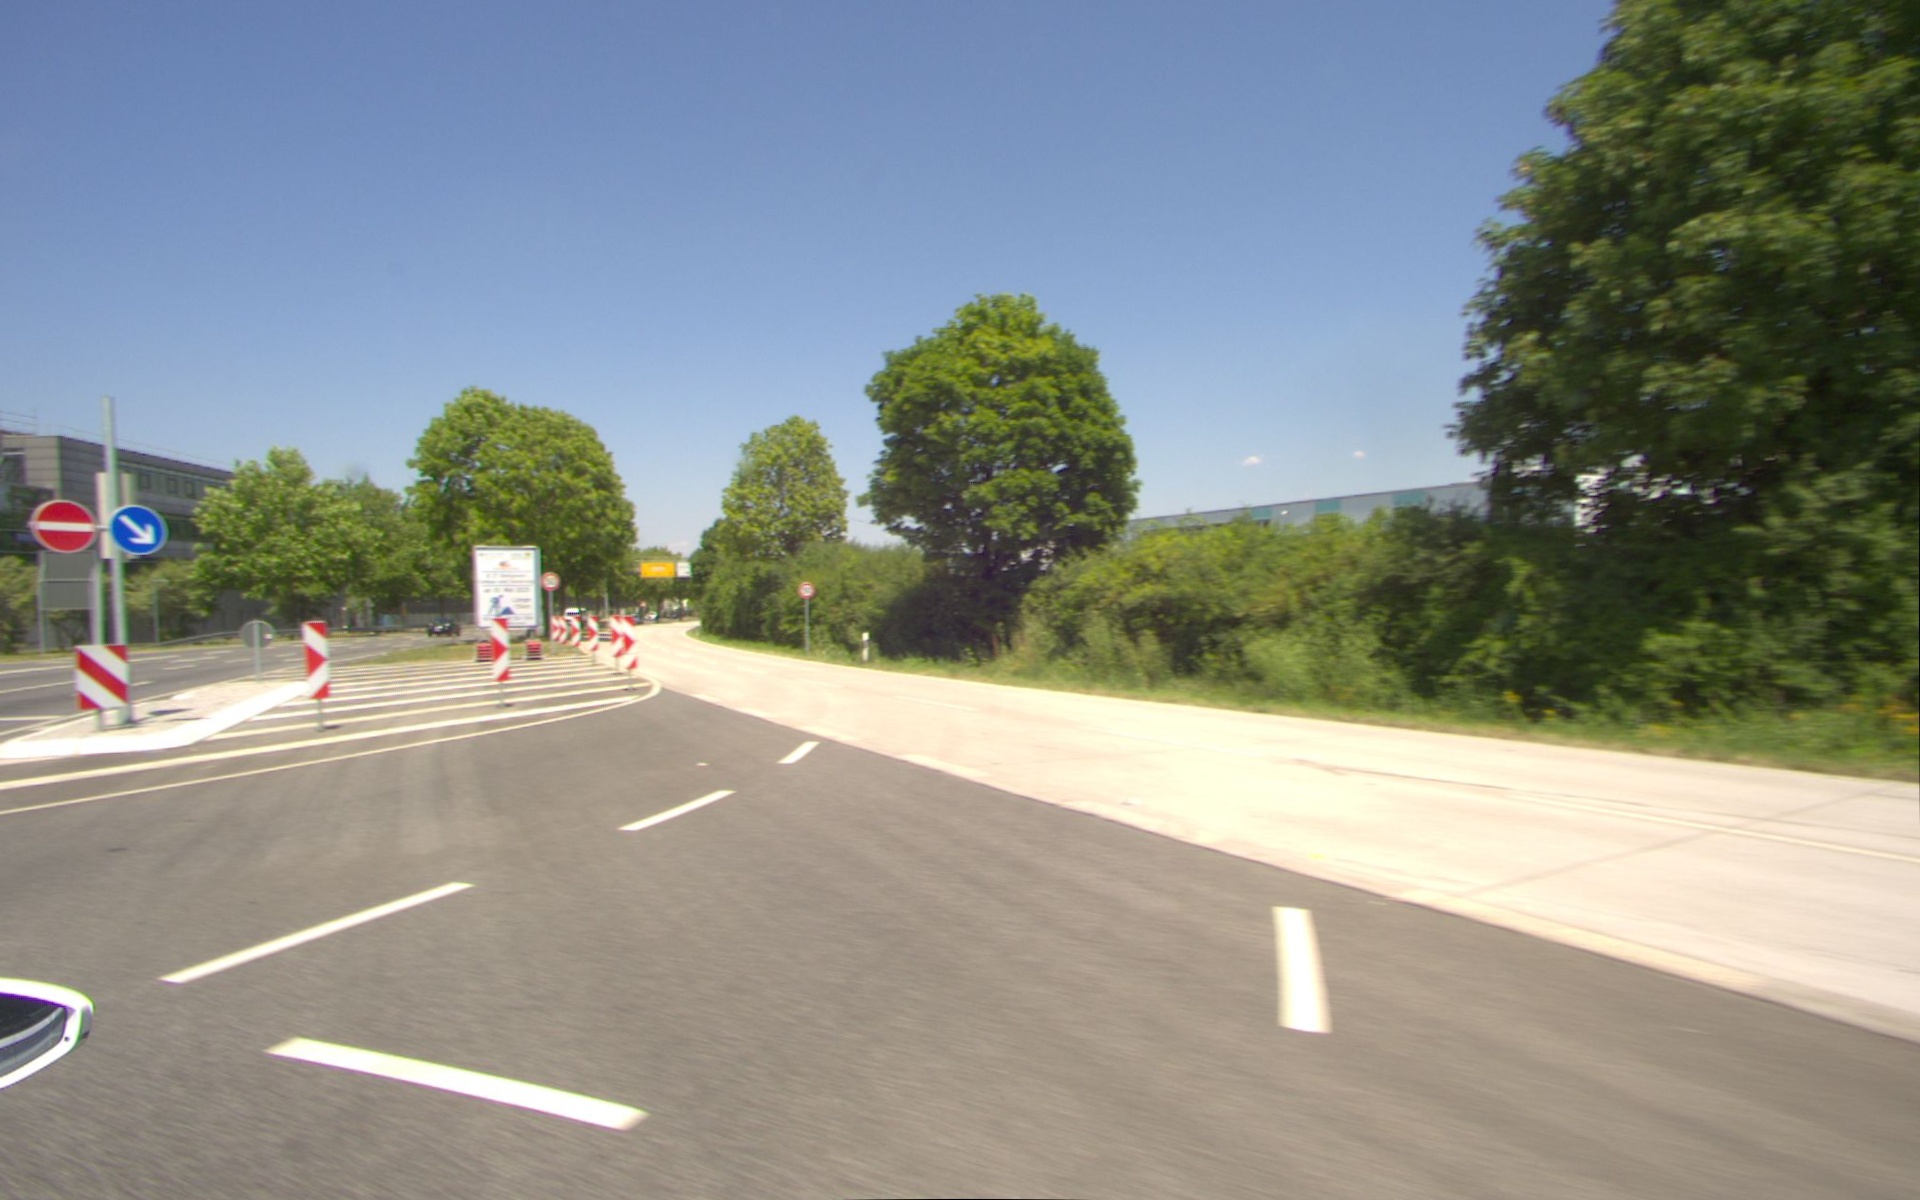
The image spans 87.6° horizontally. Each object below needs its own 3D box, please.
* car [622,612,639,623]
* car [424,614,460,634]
[{"bbox_3d":[-52.120,2.820,158.566,1.704,1.683,3.999,0,-1,-6],"label":"car"},{"bbox_3d":[-42.977,1.977,83.163,1.636,1.610,3.996,0,-1,-13],"label":"car"}]
